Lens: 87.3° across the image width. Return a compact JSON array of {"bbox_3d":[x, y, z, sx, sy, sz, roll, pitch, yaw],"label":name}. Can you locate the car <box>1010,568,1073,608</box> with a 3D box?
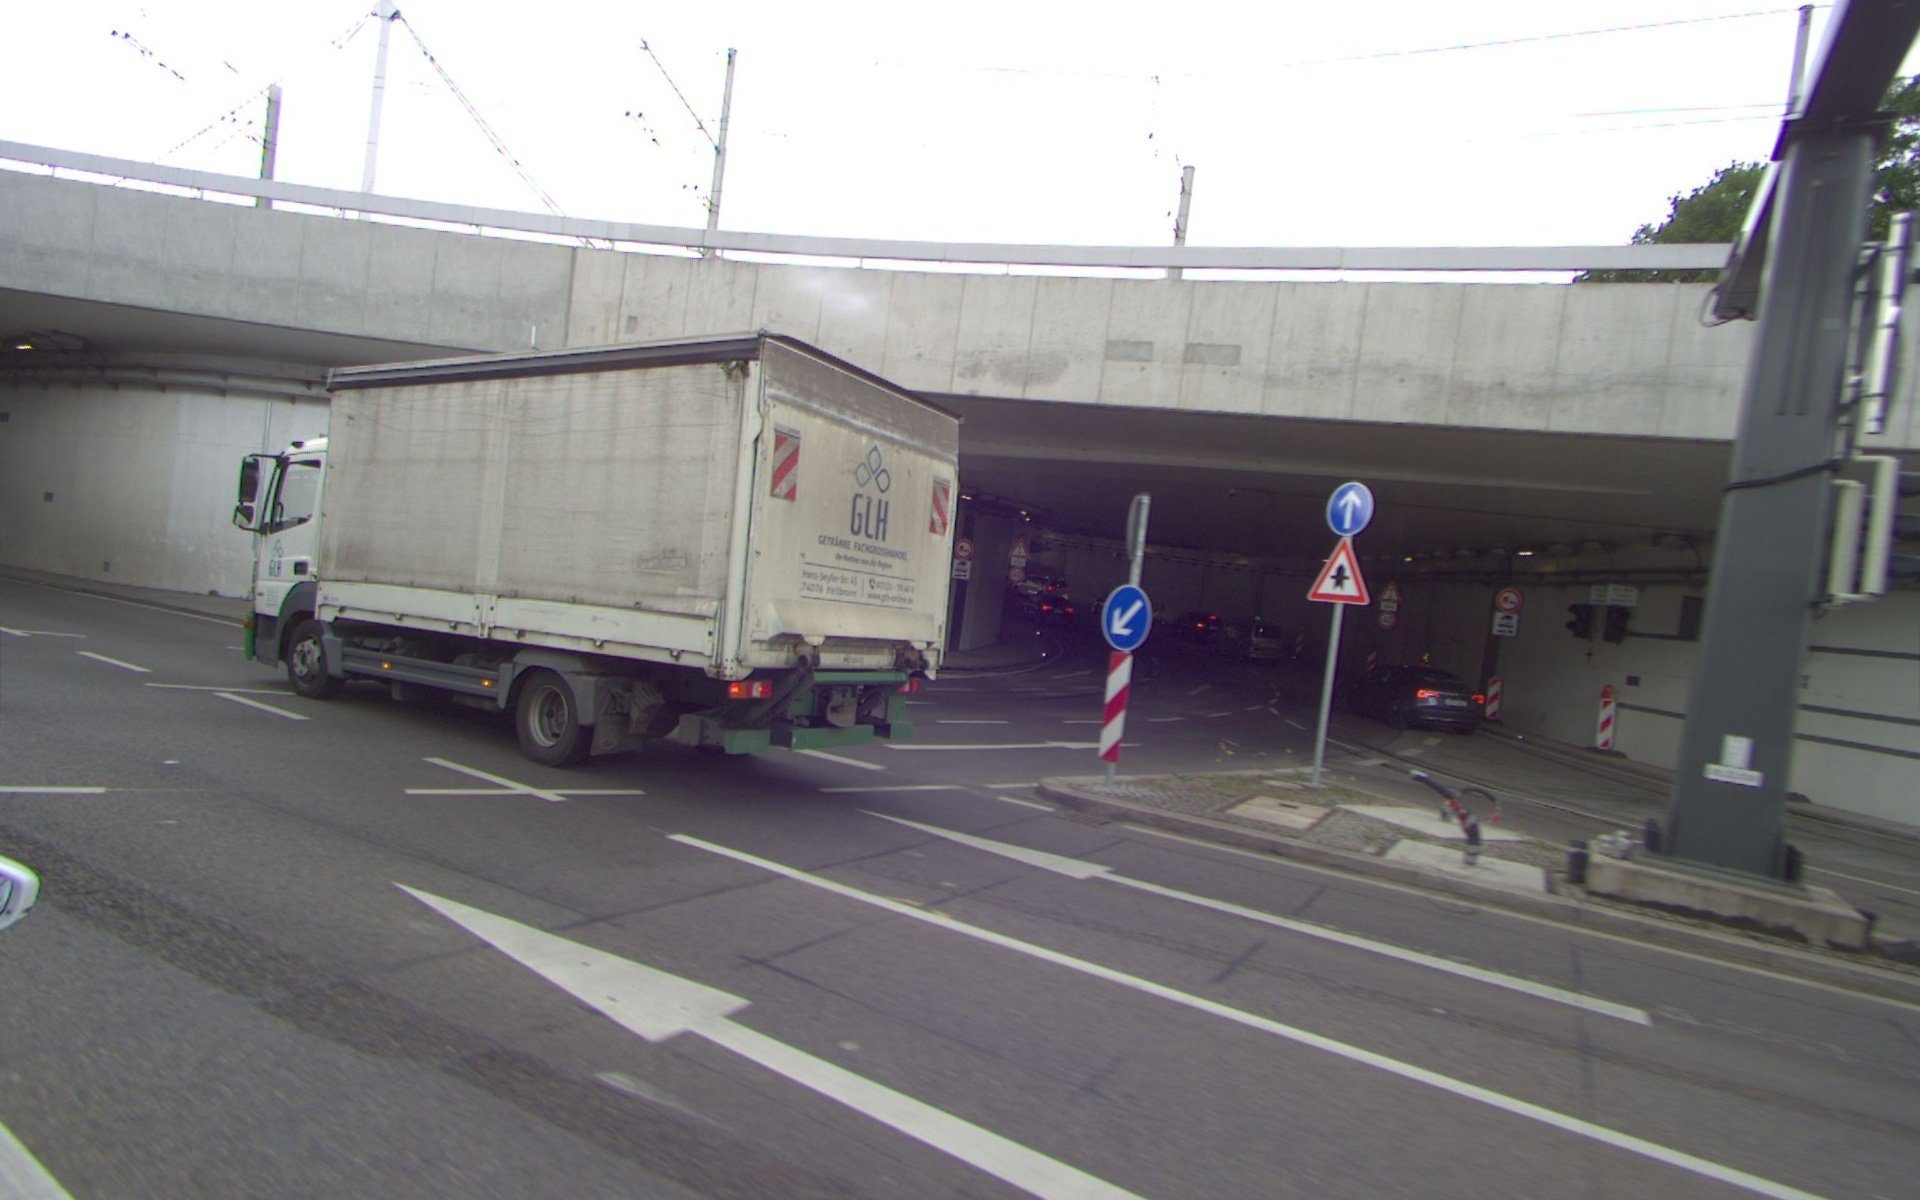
[{"bbox_3d":[5.444,-0.841,67.659,1.936,1.925,4.199,5,7,-31],"label":"car"}]

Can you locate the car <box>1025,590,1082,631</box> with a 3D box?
[{"bbox_3d":[4.749,0.512,51.624,1.802,1.610,3.988,7,3,-10],"label":"car"}]

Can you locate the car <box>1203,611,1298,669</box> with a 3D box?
[{"bbox_3d":[12.583,1.688,43.892,1.967,1.861,4.343,6,3,-12],"label":"car"}]

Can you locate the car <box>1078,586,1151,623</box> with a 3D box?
[{"bbox_3d":[9.334,0.264,61.087,2.117,1.649,4.365,7,2,-27],"label":"car"}]

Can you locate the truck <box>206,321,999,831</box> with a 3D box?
[{"bbox_3d":[-3.623,-0.448,9.342,7.301,3.225,2.653,7,1,31],"label":"truck"}]

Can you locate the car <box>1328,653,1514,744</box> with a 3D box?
[{"bbox_3d":[10.744,2.253,23.888,1.964,1.420,4.459,4,2,-5],"label":"car"}]

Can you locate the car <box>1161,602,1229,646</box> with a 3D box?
[{"bbox_3d":[12.259,1.225,52.698,1.818,1.680,4.347,7,3,-9],"label":"car"}]
